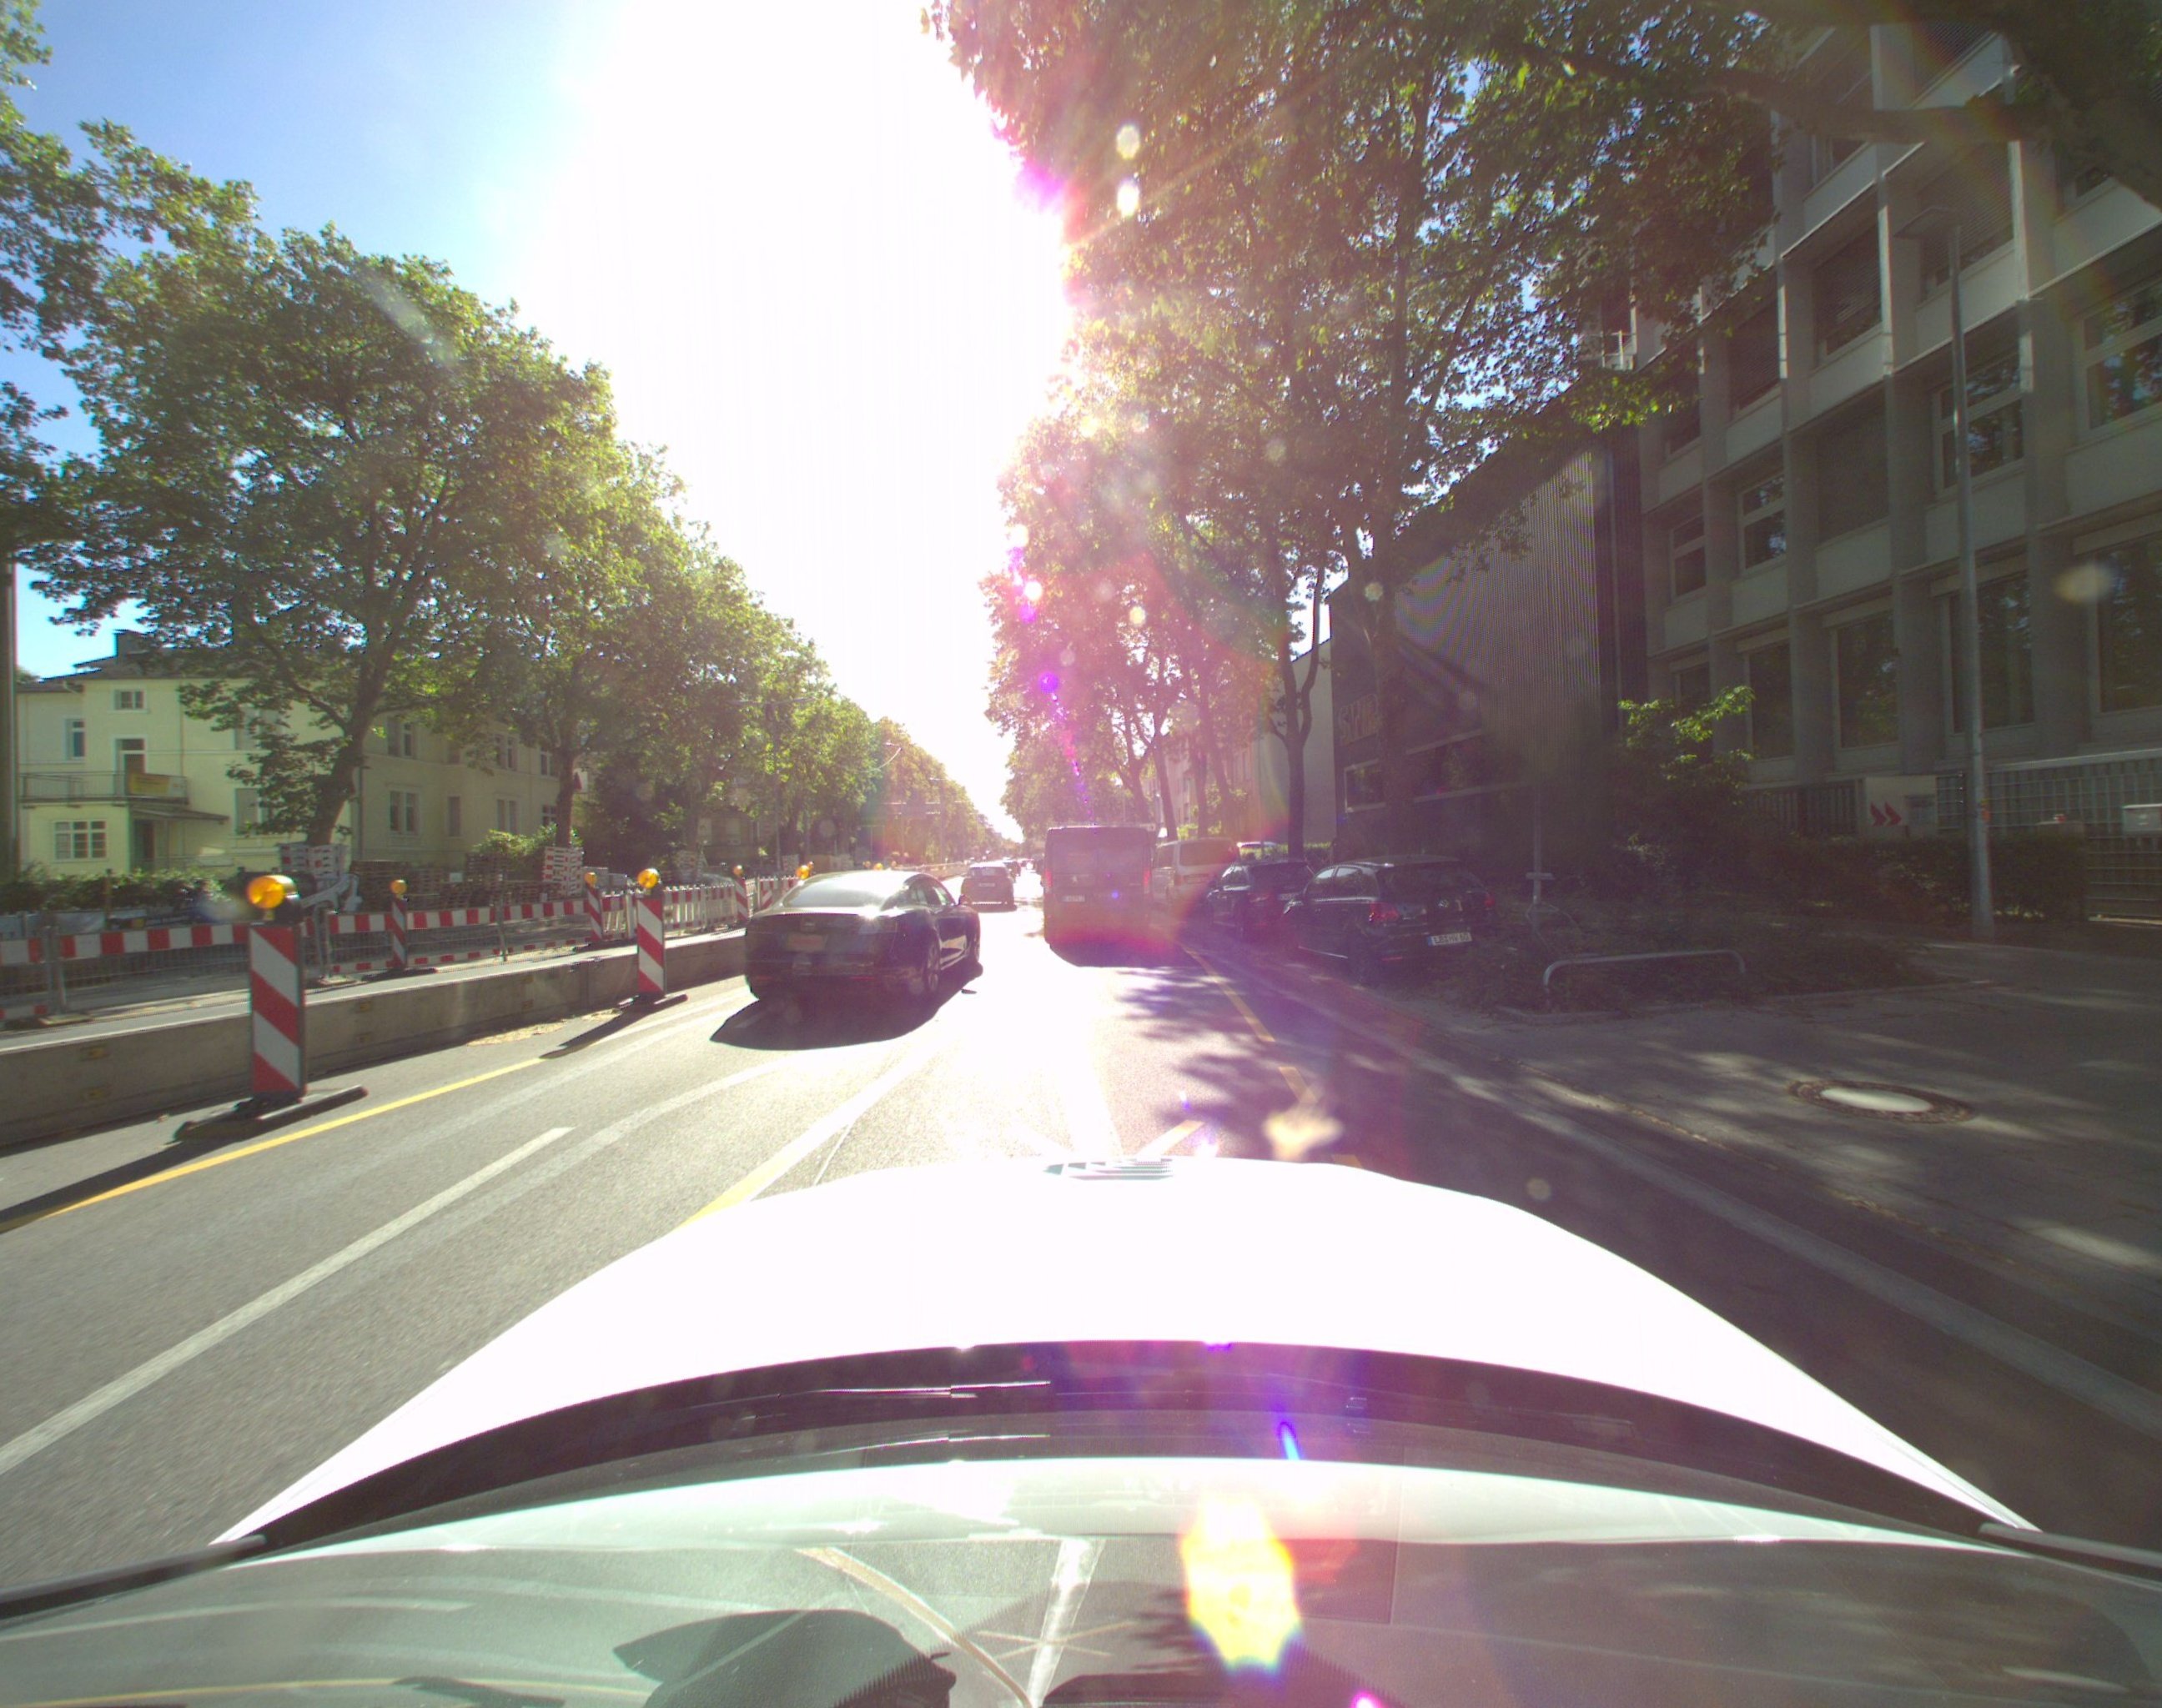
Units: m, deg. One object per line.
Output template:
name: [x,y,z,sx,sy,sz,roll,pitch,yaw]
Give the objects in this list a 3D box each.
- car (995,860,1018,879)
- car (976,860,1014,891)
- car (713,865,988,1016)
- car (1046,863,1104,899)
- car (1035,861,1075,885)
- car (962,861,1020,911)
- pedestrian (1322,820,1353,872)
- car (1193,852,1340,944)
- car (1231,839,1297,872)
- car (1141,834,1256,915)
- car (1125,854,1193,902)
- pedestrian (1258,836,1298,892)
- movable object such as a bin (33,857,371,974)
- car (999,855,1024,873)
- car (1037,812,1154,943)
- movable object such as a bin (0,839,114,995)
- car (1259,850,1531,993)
car: [-5.037,1.045,55.437,1.418,1.225,3.434,-2,-1,-3]
car: [-4.166,1.046,39.889,1.543,1.425,3.552,-1,-1,-2]
car: [-2.560,0.889,10.395,1.917,1.412,4.629,-1,0,3]
car: [-0.316,1.021,31.895,1.916,1.249,3.992,-2,0,-6]
car: [-1.544,1.068,46.767,1.991,1.249,3.992,-1,0,-6]
car: [-2.946,0.991,26.867,1.744,1.407,3.992,0,1,-6]
pedestrian: [8.265,-0.273,26.267,0.705,1.649,0.673,1,2,-7]
car: [3.455,0.764,15.968,1.654,1.540,4.122,-1,-1,-4]
car: [10.578,0.093,47.241,1.717,1.853,3.468,0,-1,-37]
car: [3.084,0.517,22.642,2.022,1.946,5.264,-2,0,-5]
car: [2.640,0.776,28.361,1.744,1.477,4.097,-2,0,-3]
pedestrian: [5.891,0.292,24.441,0.727,1.602,1.264,-1,-1,-7]
movable object such as a bin: [-20.295,1.271,19.342,1.988,2.278,5.594,-3,-1,-2]
car: [-6.436,0.928,75.601,1.988,1.589,3.997,-2,-1,-2]
car: [0.203,0.414,16.733,2.090,2.355,3.930,-1,0,-2]
movable object such as a bin: [-19.741,1.113,13.197,2.144,2.706,5.341,-1,0,-7]
car: [3.906,0.742,11.006,1.760,1.508,4.244,-1,0,-4]
